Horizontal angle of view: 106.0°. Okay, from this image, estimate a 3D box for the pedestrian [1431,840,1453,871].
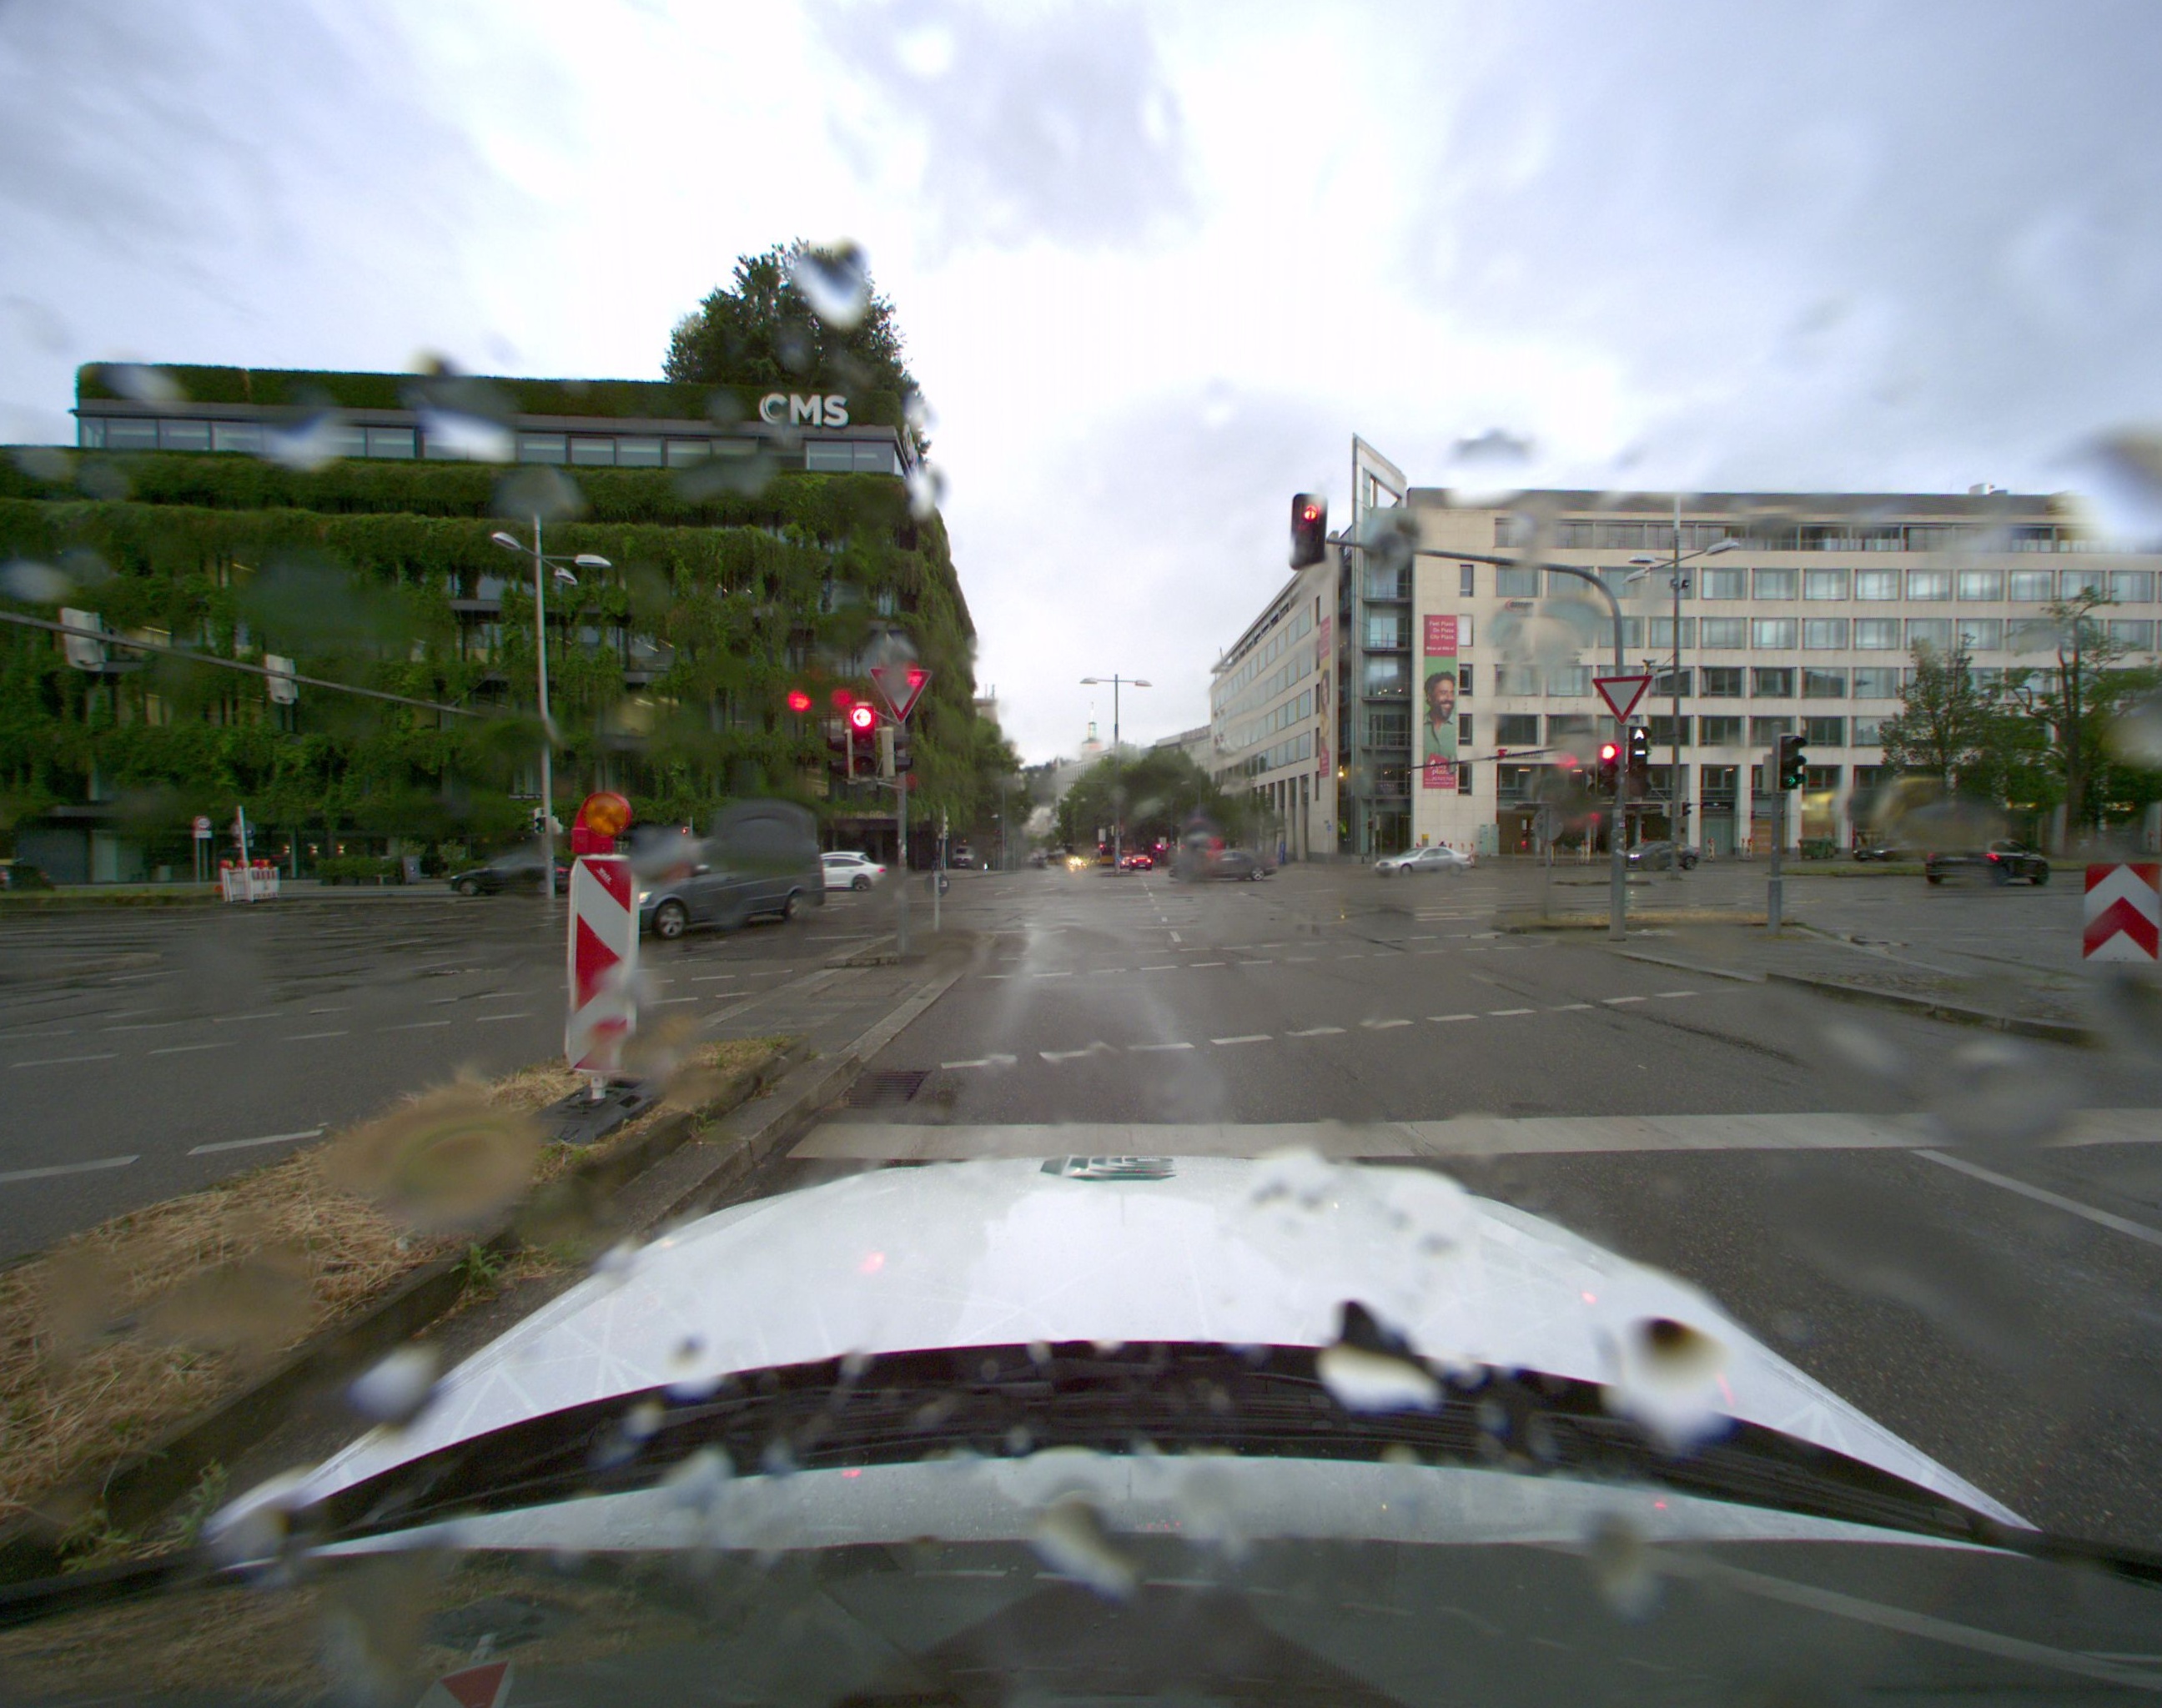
[{"bbox_3d":[21.857,0.088,49.262,0.958,1.816,0.837,0,-1,1],"label":"pedestrian"}]

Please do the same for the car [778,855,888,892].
[{"bbox_3d":[-11.319,0.892,37.491,4.688,1.626,1.802,1,-1,-13],"label":"car"}]

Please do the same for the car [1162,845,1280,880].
[{"bbox_3d":[6.227,0.383,36.382,4.853,1.477,1.991,0,-2,-13],"label":"car"}]

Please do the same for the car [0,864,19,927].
[{"bbox_3d":[-27.337,1.004,18.304,3.981,1.475,1.996,-1,0,-6],"label":"car"}]

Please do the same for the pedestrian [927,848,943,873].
[{"bbox_3d":[-9.836,0.430,54.981,0.930,1.644,0.774,0,-1,1],"label":"pedestrian"}]

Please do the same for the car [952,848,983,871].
[{"bbox_3d":[-9.555,0.474,68.731,1.863,1.839,4.001,0,-1,2],"label":"car"}]

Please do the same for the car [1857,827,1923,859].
[{"bbox_3d":[52.981,-0.675,53.344,4.675,2.014,1.536,0,-1,-25],"label":"car"}]

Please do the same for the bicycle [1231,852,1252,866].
[{"bbox_3d":[14.301,0.438,72.599,1.770,1.194,0.587,0,-1,3],"label":"bicycle"}]

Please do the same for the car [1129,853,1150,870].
[{"bbox_3d":[5.461,0.702,76.091,1.775,1.508,4.001,0,-1,2],"label":"car"}]

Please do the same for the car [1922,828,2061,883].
[{"bbox_3d":[30.199,0.012,27.010,4.005,1.695,1.920,-1,0,-24],"label":"car"}]

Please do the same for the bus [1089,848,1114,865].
[{"bbox_3d":[3.685,0.422,146.085,2.631,2.995,7.415,-1,0,-13],"label":"bus"}]

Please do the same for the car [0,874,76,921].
[{"bbox_3d":[-40.358,1.574,29.667,4.405,1.638,1.993,0,-1,-11],"label":"car"}]

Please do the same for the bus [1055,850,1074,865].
[{"bbox_3d":[-3.536,0.735,173.569,2.631,2.995,7.294,-1,0,-13],"label":"bus"}]

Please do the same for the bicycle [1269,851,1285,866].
[{"bbox_3d":[16.056,0.378,66.732,0.579,1.194,1.794,-1,-1,40],"label":"bicycle"}]

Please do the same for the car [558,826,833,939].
[{"bbox_3d":[-7.575,0.514,16.655,1.976,1.927,4.992,-1,-1,24],"label":"car"}]

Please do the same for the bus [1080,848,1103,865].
[{"bbox_3d":[1.992,0.431,153.277,2.631,2.995,7.415,-1,0,-13],"label":"bus"}]

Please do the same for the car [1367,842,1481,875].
[{"bbox_3d":[16.199,0.189,38.575,4.723,1.477,1.992,0,2,-13],"label":"car"}]

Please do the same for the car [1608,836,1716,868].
[{"bbox_3d":[29.966,-0.092,42.077,4.467,1.609,1.828,0,-1,-5],"label":"car"}]

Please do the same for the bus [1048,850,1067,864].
[{"bbox_3d":[-5.233,0.708,180.713,2.631,2.995,7.415,-1,0,-13],"label":"bus"}]

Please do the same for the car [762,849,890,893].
[{"bbox_3d":[-10.049,0.653,32.399,4.690,1.512,1.802,-2,-1,-14],"label":"car"}]

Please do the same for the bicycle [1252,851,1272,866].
[{"bbox_3d":[14.733,0.383,66.206,0.588,1.194,1.768,0,-1,-26],"label":"bicycle"}]

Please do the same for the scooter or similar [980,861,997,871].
[{"bbox_3d":[-9.423,1.182,82.943,0.616,1.004,1.671,-1,0,40],"label":"scooter or similar"}]

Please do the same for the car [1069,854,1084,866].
[{"bbox_3d":[-0.771,0.949,126.883,2.158,1.765,5.108,-2,0,-1],"label":"car"}]

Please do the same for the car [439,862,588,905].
[{"bbox_3d":[-22.519,1.139,32.500,4.406,1.638,1.992,0,-1,-11],"label":"car"}]

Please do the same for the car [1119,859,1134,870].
[{"bbox_3d":[5.884,1.359,106.112,1.775,1.508,4.001,0,-1,2],"label":"car"}]

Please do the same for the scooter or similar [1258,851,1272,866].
[{"bbox_3d":[14.425,0.367,63.975,0.951,1.194,0.458,-1,-1,42],"label":"scooter or similar"}]

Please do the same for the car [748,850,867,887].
[{"bbox_3d":[-11.698,0.614,35.129,4.690,1.512,1.802,0,-1,-14],"label":"car"}]
